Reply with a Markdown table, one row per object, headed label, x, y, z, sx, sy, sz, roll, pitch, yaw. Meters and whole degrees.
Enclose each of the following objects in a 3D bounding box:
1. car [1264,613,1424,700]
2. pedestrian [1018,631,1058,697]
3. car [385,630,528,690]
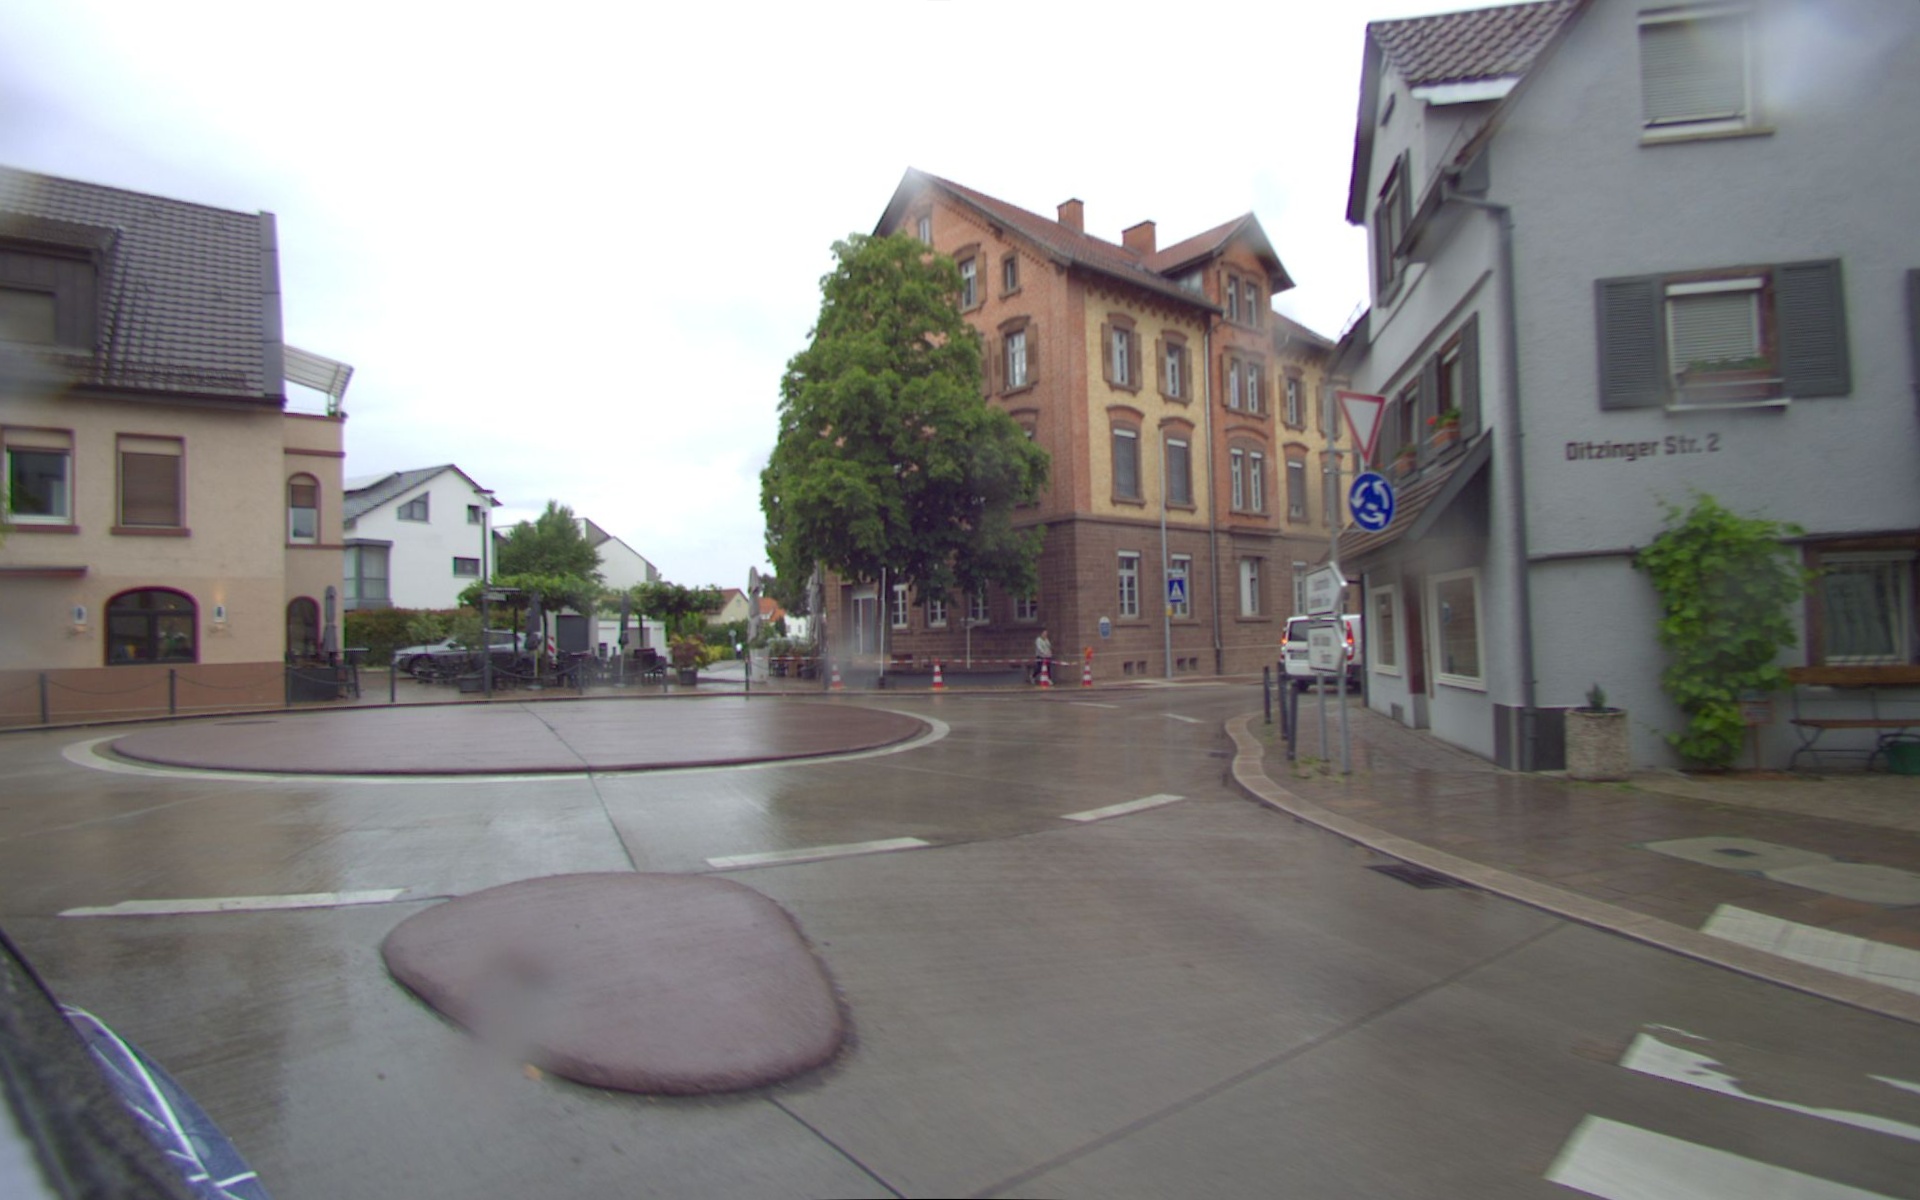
| label | x | y | z | sx | sy | sz | roll | pitch | yaw |
| --- | --- | --- | --- | --- | --- | --- | --- | --- | --- |
| car | 9.598 | 1.399 | 25.065 | 2.159 | 1.913 | 4.857 | -3 | -4 | 41 |
| pedestrian | 2.295 | 1.869 | 29.701 | 0.812 | 1.901 | 0.844 | 2 | -3 | -41 |
| car | -17.885 | 2.122 | 35.993 | 4.411 | 2.029 | 2.006 | 2 | -4 | -30 |
